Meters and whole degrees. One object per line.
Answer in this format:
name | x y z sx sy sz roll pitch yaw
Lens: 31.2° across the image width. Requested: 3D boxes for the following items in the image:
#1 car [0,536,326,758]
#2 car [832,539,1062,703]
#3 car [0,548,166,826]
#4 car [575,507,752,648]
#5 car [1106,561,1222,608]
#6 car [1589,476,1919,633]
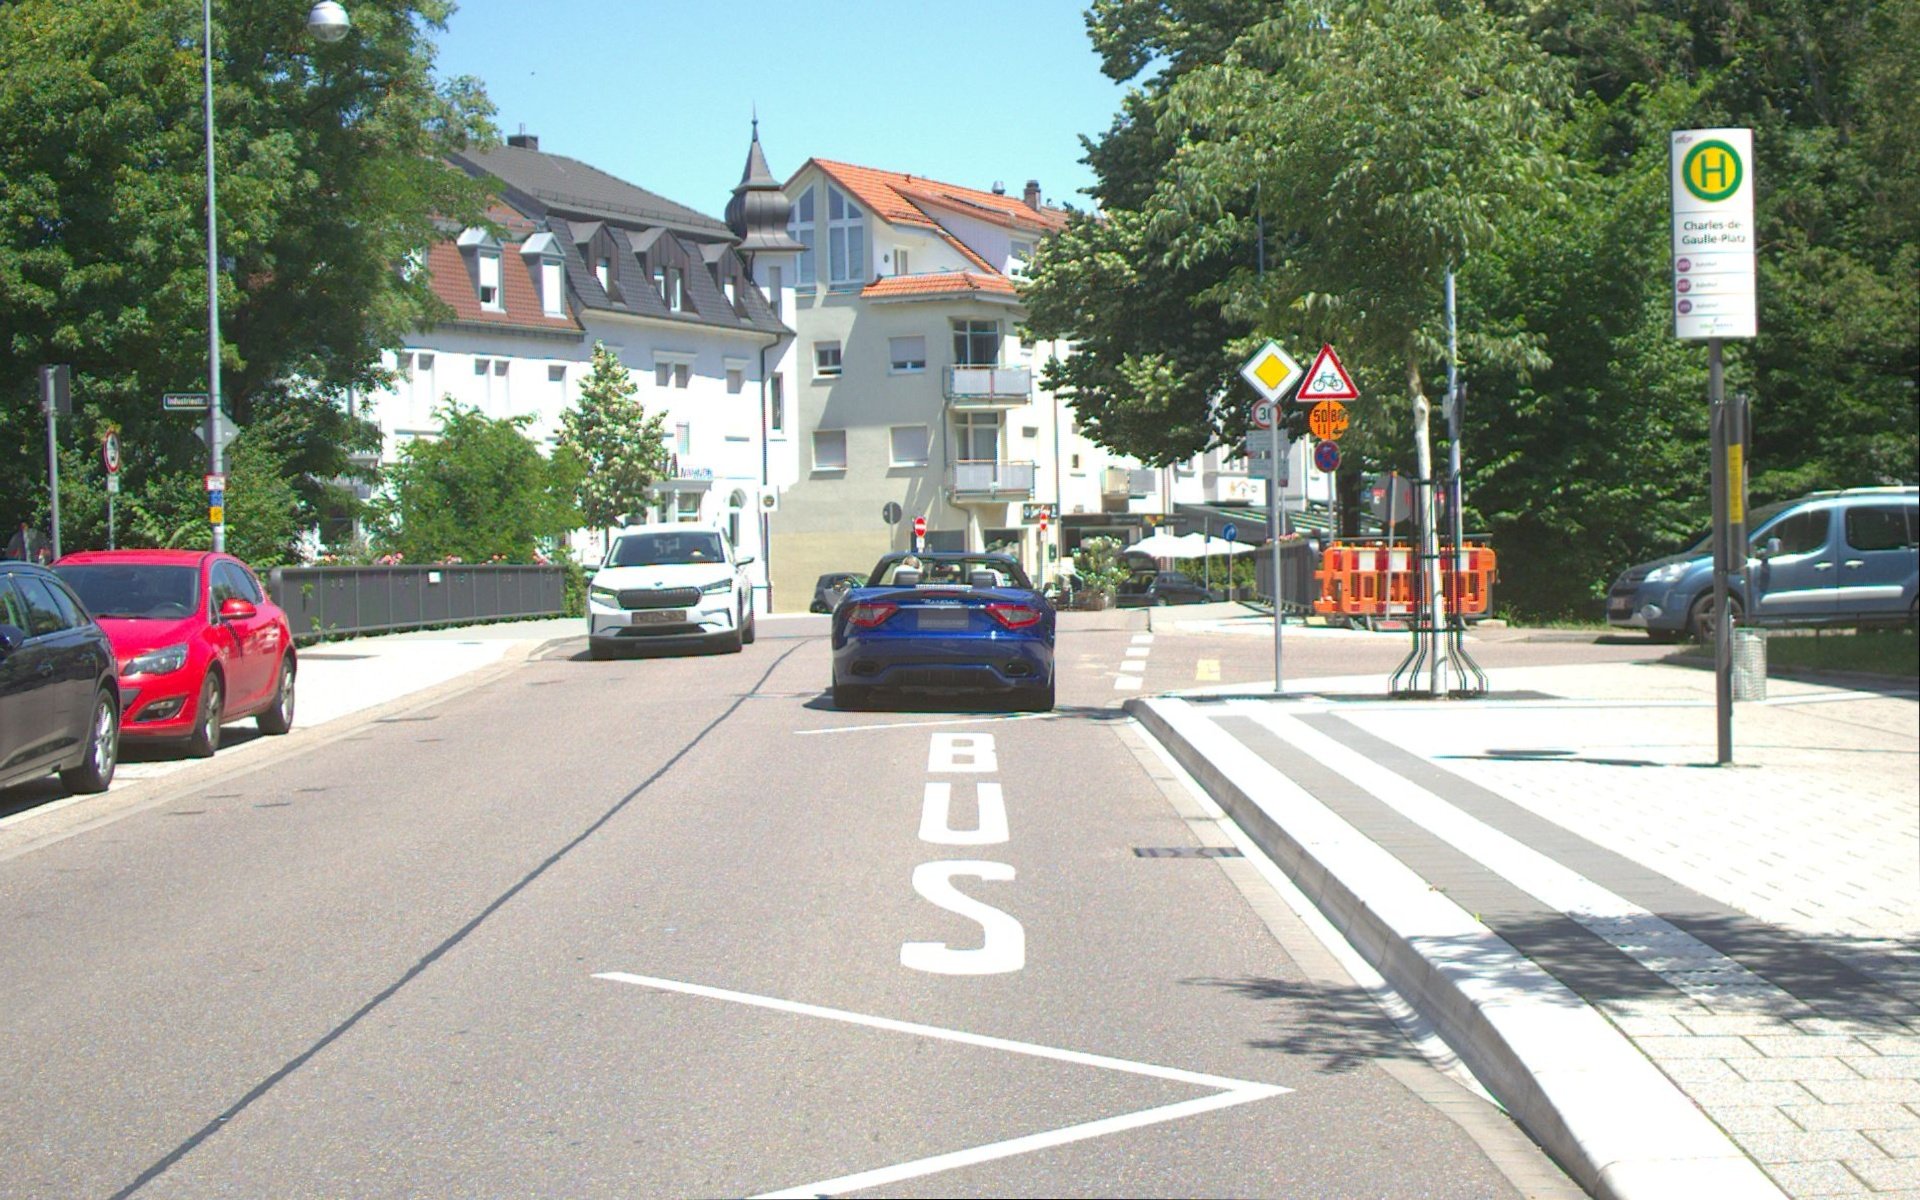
car | -6.217 0.280 26.159 1.877 1.474 4.738 1 1 0
car | -0.096 0.146 30.340 1.870 1.337 4.596 0 1 0
car | -6.201 0.462 20.240 1.863 1.456 5.307 1 2 0
car | -3.668 -0.312 43.205 1.877 1.591 4.360 -3 1 -1
car | 6.643 -0.499 111.651 1.716 1.455 4.120 2 1 38
car | 9.913 -0.535 41.219 4.336 1.832 1.750 0 0 -8
